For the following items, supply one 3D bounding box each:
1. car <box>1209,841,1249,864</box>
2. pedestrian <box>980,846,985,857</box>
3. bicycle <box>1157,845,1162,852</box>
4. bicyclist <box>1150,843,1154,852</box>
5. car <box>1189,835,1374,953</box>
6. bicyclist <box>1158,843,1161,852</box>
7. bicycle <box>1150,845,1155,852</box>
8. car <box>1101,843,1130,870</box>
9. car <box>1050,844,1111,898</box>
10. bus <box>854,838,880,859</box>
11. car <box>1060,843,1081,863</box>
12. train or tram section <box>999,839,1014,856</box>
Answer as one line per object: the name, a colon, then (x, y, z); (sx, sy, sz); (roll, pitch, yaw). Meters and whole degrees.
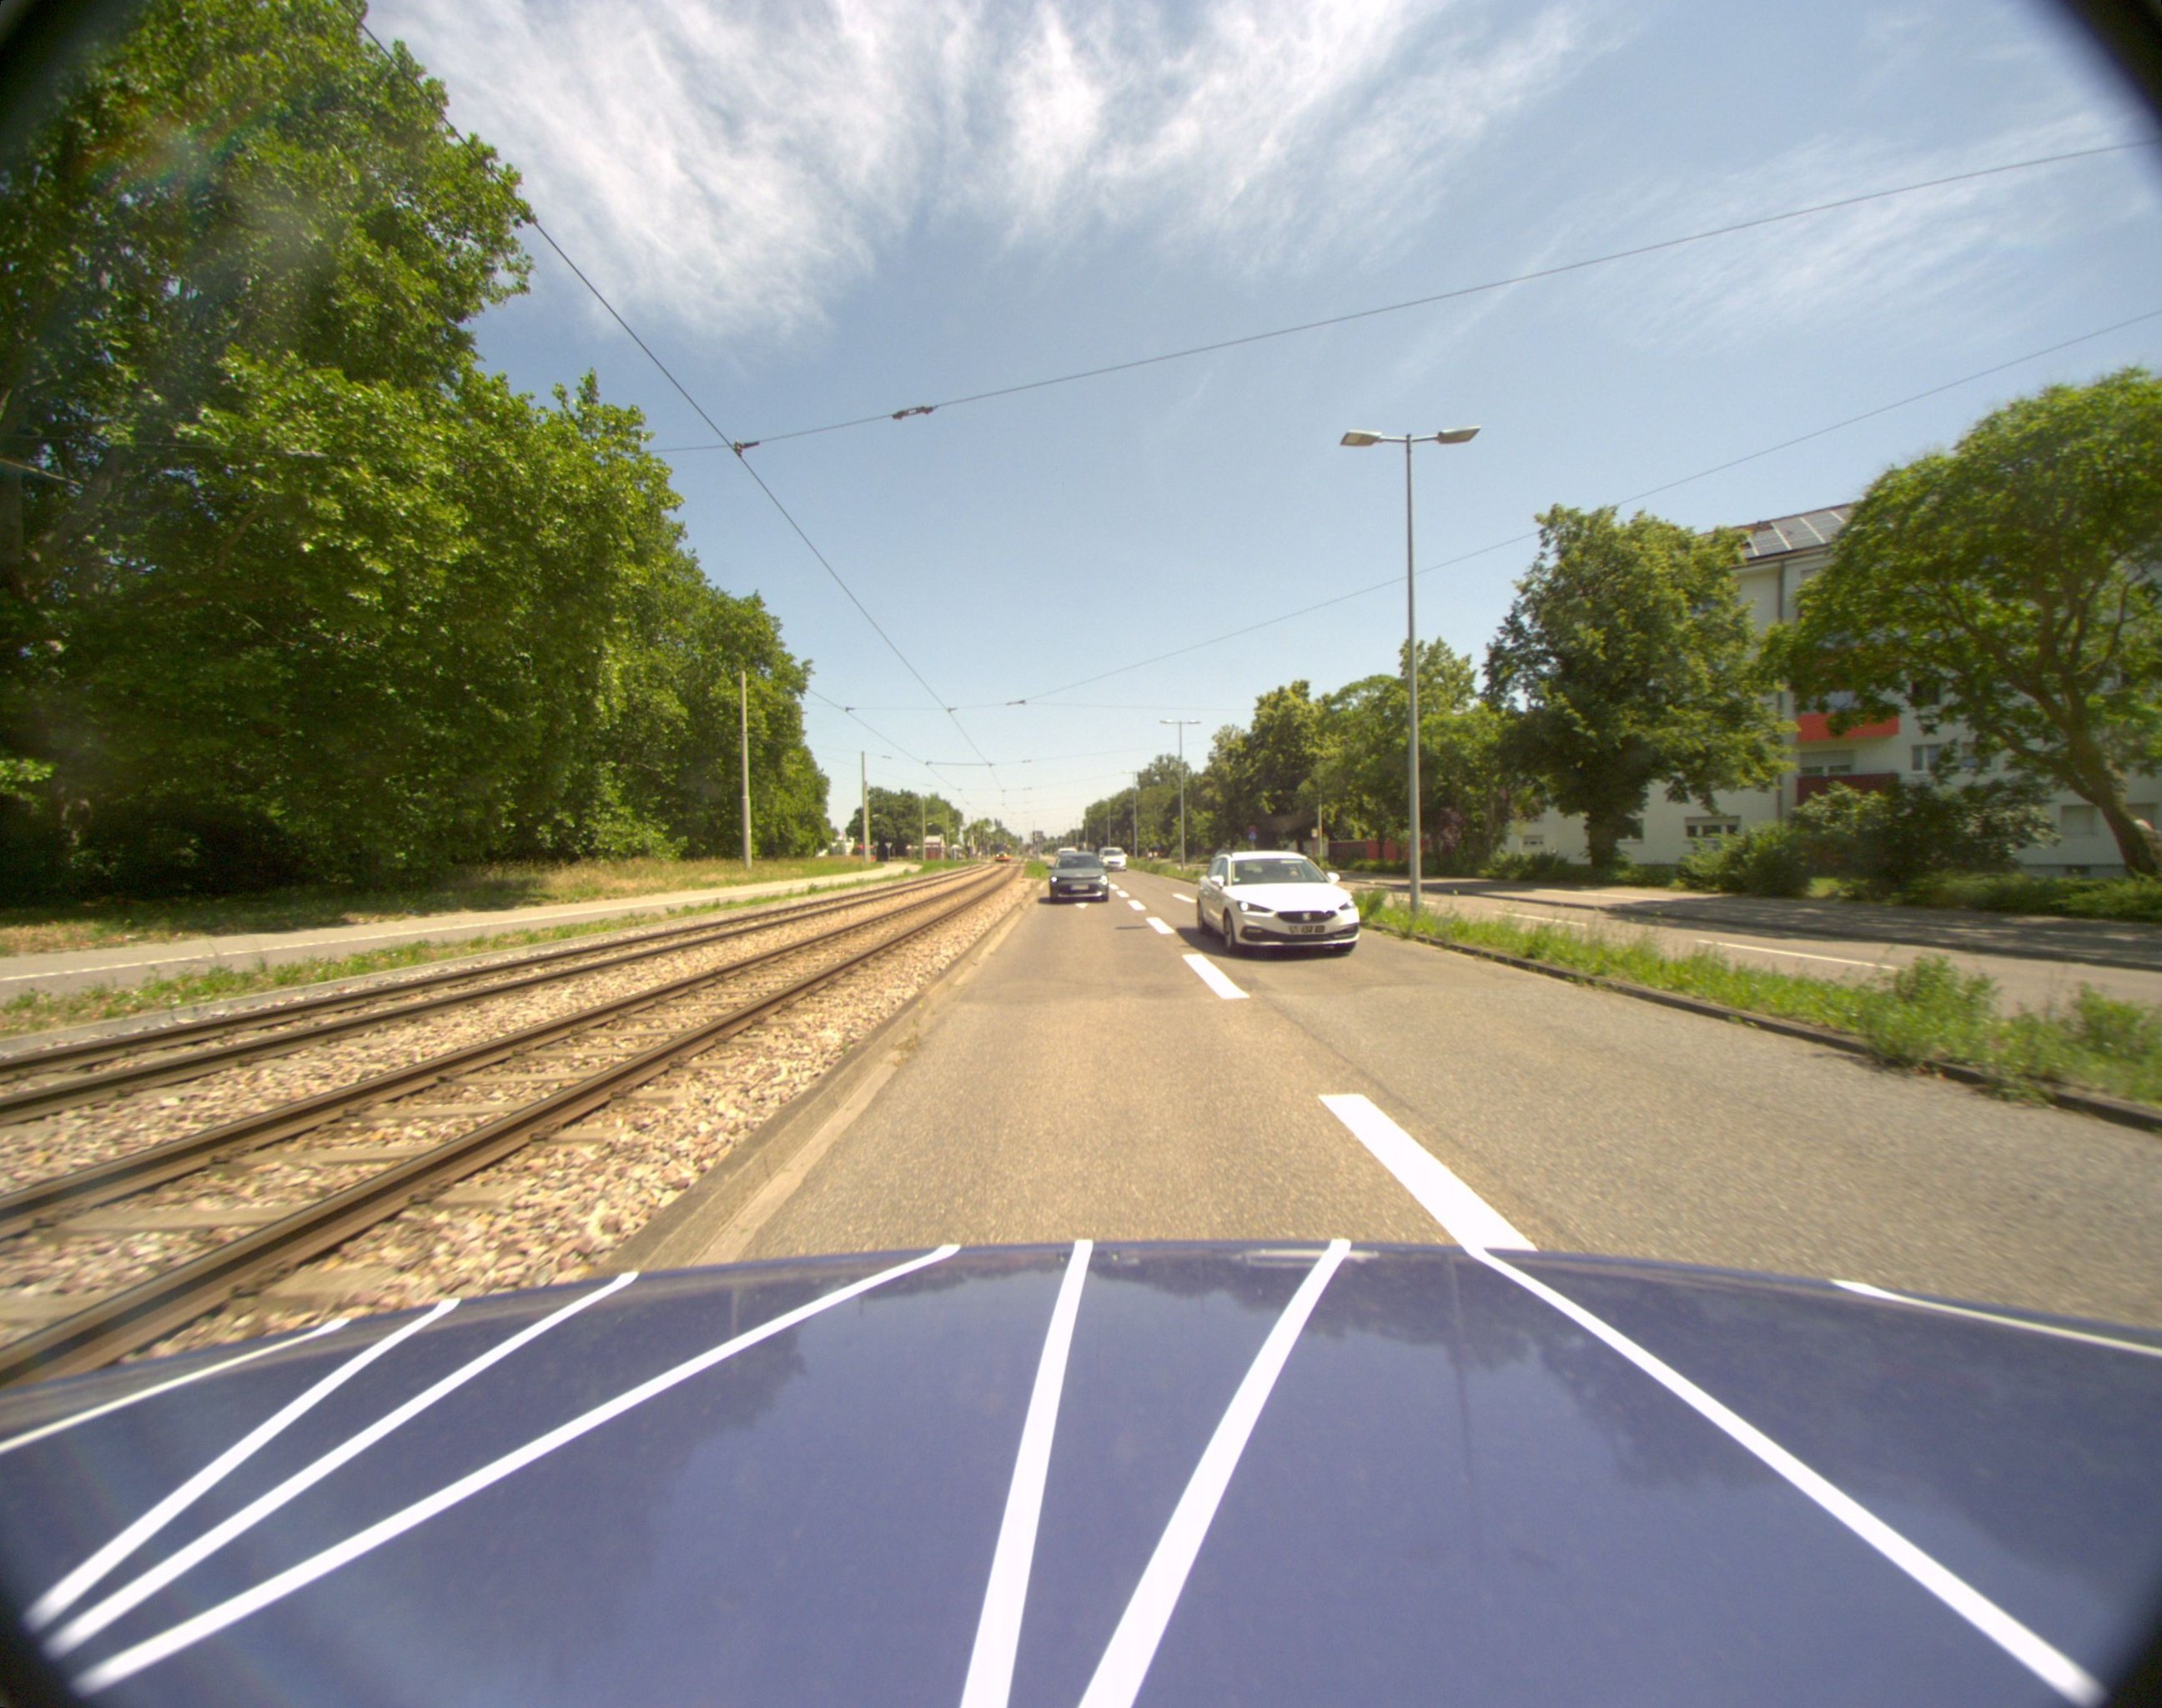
car: (10.863, -0.173, 55.916); (1.928, 1.616, 4.755); (0, 1, -1)
pedestrian: (-16.444, -0.459, 127.331); (0.637, 1.749, 0.815); (-3, 2, -17)
bicycle: (12.702, -0.871, 123.059); (0.555, 1.088, 1.379); (-3, 2, -2)
bicyclist: (11.551, -1.070, 123.247); (0.546, 1.338, 0.755); (-1, 1, -4)
car: (2.906, 0.500, 11.951); (1.772, 1.460, 4.111); (-3, 1, 0)
bicyclist: (12.682, -1.073, 122.994); (0.358, 1.384, 0.440); (-3, 1, -1)
bicycle: (11.560, -0.833, 122.994); (0.590, 1.126, 1.615); (-1, 1, -3)
car: (2.654, 0.164, 59.990); (1.999, 2.002, 3.999); (-1, 1, -1)
car: (-0.072, 0.482, 24.484); (1.788, 1.554, 4.134); (-1, 1, -1)
bus: (-37.784, -0.917, 134.061); (2.771, 3.419, 12.420); (-3, 2, -23)
car: (-1.129, -0.148, 79.400); (1.922, 2.002, 3.998); (-1, 1, -4)
train or tram section: (-14.646, -1.327, 149.262); (2.525, 3.303, 7.257); (-1, 1, -3)
